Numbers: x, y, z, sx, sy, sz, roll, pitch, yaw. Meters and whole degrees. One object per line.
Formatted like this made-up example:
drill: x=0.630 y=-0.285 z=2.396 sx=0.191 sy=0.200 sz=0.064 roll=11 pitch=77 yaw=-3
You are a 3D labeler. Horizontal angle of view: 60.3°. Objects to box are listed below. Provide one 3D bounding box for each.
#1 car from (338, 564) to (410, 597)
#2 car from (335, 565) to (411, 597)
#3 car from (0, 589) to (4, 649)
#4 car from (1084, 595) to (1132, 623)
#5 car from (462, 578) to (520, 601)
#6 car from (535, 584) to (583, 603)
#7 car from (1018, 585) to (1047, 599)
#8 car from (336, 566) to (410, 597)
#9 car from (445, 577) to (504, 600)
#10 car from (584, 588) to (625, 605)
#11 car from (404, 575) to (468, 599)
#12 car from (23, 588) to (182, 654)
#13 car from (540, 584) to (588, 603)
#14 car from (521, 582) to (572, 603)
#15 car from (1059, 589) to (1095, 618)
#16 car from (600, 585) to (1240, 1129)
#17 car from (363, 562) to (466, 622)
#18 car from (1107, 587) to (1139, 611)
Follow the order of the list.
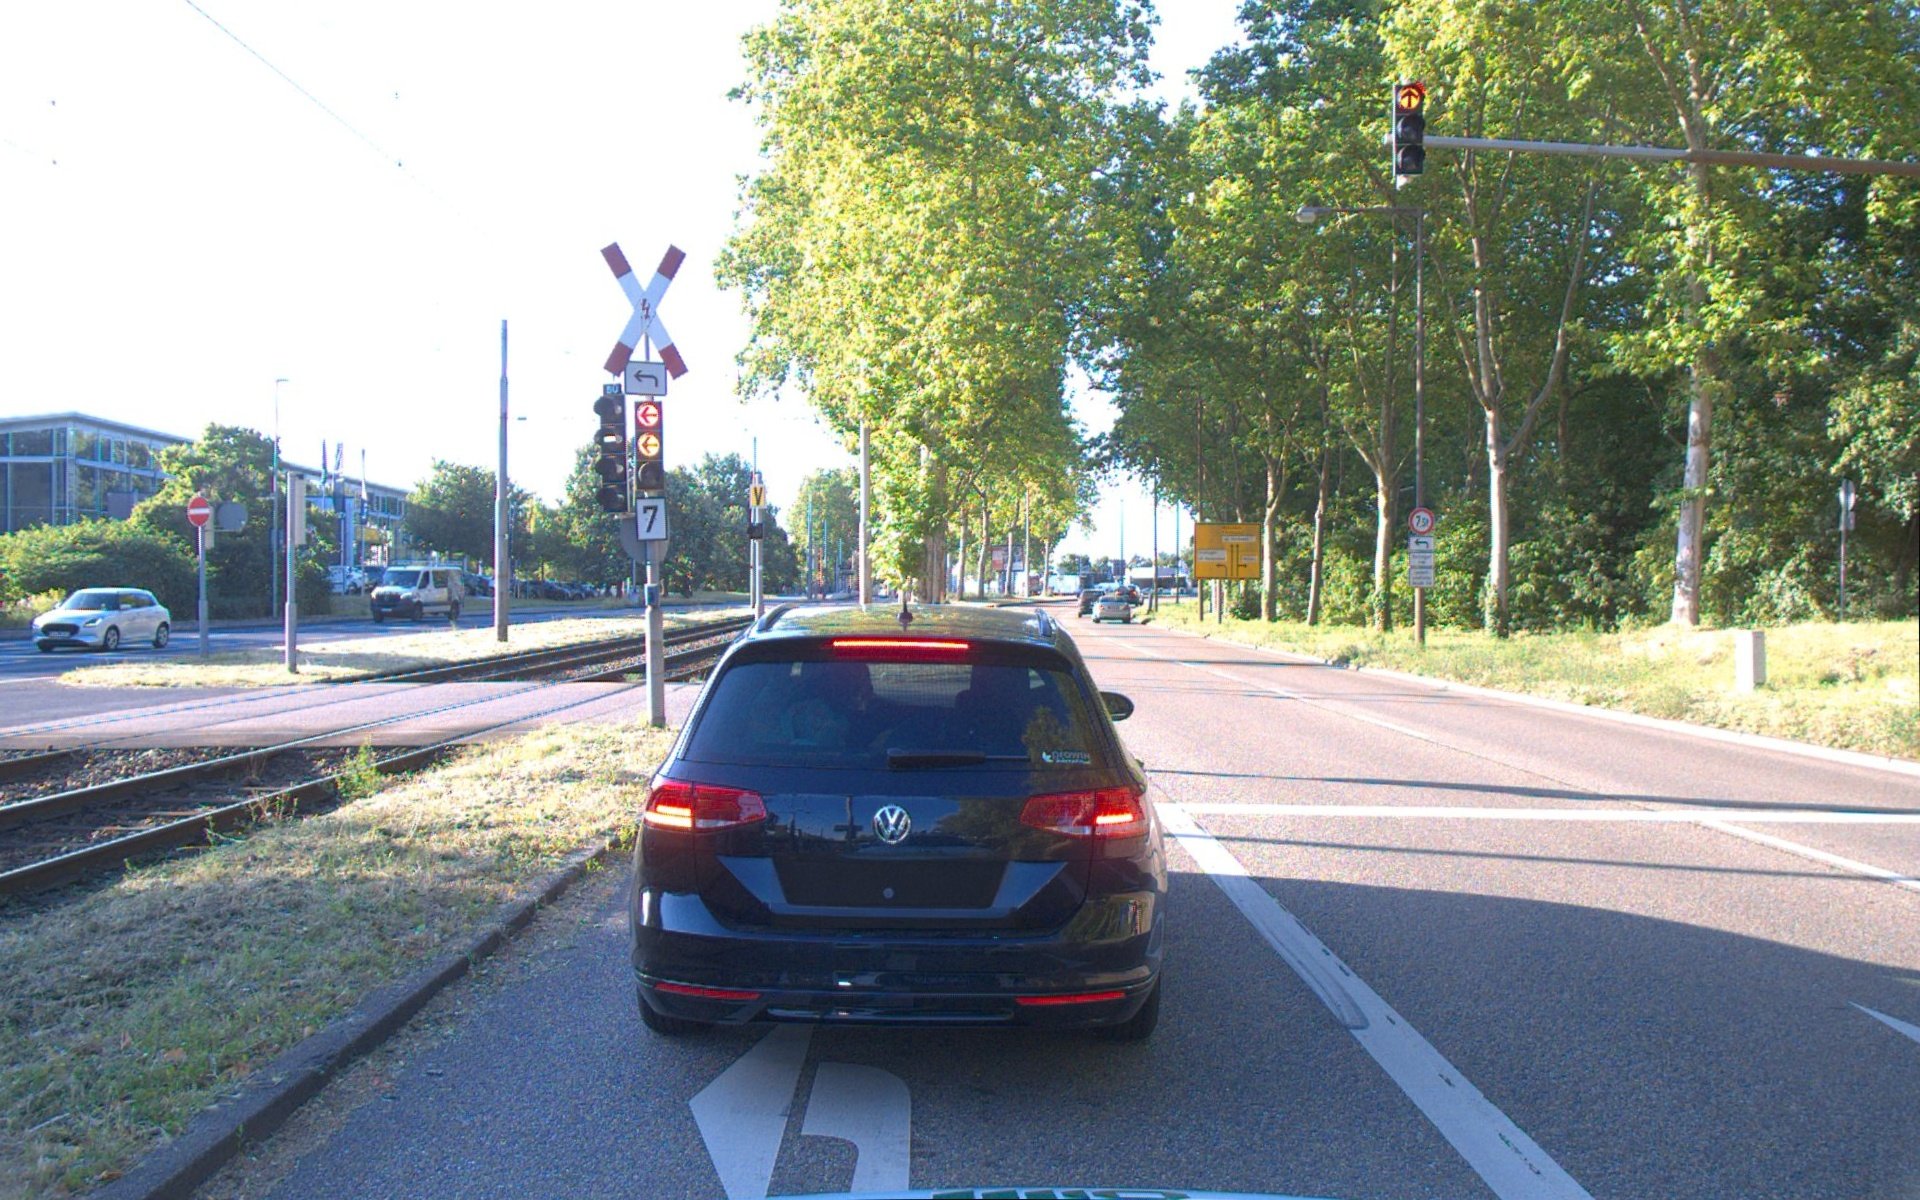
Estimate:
car: x=-34.449 y=-1.127 z=97.282 sx=3.930 sy=1.848 sz=1.732 roll=1 pitch=0 yaw=-22
car: x=-32.917 y=-1.054 z=92.718 sx=3.930 sy=1.734 sz=1.732 roll=1 pitch=0 yaw=-22
car: x=-25.203 y=0.487 z=39.875 sx=1.823 sy=1.507 sz=4.172 roll=1 pitch=1 yaw=1
car: x=7.125 y=0.422 z=79.959 sx=1.578 sy=1.317 sz=3.978 roll=1 pitch=0 yaw=-6
car: x=-35.249 y=-0.777 z=124.474 sx=3.909 sy=1.649 sz=1.742 roll=1 pitch=0 yaw=-6
car: x=-35.230 y=-0.571 z=145.376 sx=3.909 sy=1.649 sz=1.742 roll=1 pitch=0 yaw=-6
car: x=7.566 y=-0.818 z=172.072 sx=1.952 sy=1.445 sz=4.001 roll=1 pitch=0 yaw=20
car: x=-33.700 y=-1.063 z=94.957 sx=3.930 sy=1.734 sz=1.732 roll=1 pitch=0 yaw=-22
car: x=-35.579 y=-0.819 z=121.257 sx=3.909 sy=1.649 sz=1.742 roll=1 pitch=0 yaw=-6
car: x=-35.975 y=-0.348 z=167.437 sx=3.909 sy=1.583 sz=1.742 roll=1 pitch=0 yaw=-5
car: x=-36.047 y=-0.875 z=113.803 sx=3.913 sy=1.583 sz=1.740 roll=1 pitch=0 yaw=-9
car: x=-21.139 y=0.484 z=40.964 sx=1.824 sy=1.507 sz=4.091 roll=1 pitch=1 yaw=-1
car: x=-35.527 y=-0.546 z=148.534 sx=3.909 sy=1.649 sz=1.742 roll=1 pitch=0 yaw=-6
car: x=-34.561 y=-0.630 z=138.231 sx=3.909 sy=1.649 sz=1.742 roll=1 pitch=0 yaw=-6
car: x=6.543 y=0.161 z=92.885 sx=1.673 sy=1.588 sz=4.165 roll=0 pitch=0 yaw=-1
car: x=-0.143 y=0.713 z=6.396 sx=1.758 sy=1.490 sz=3.582 roll=1 pitch=0 yaw=-1
car: x=-24.232 y=-0.364 z=73.739 sx=2.050 sy=2.504 sz=5.857 roll=1 pitch=1 yaw=7
car: x=12.593 y=-0.070 z=127.615 sx=1.832 sy=1.663 sz=4.373 roll=4 pitch=0 yaw=12
